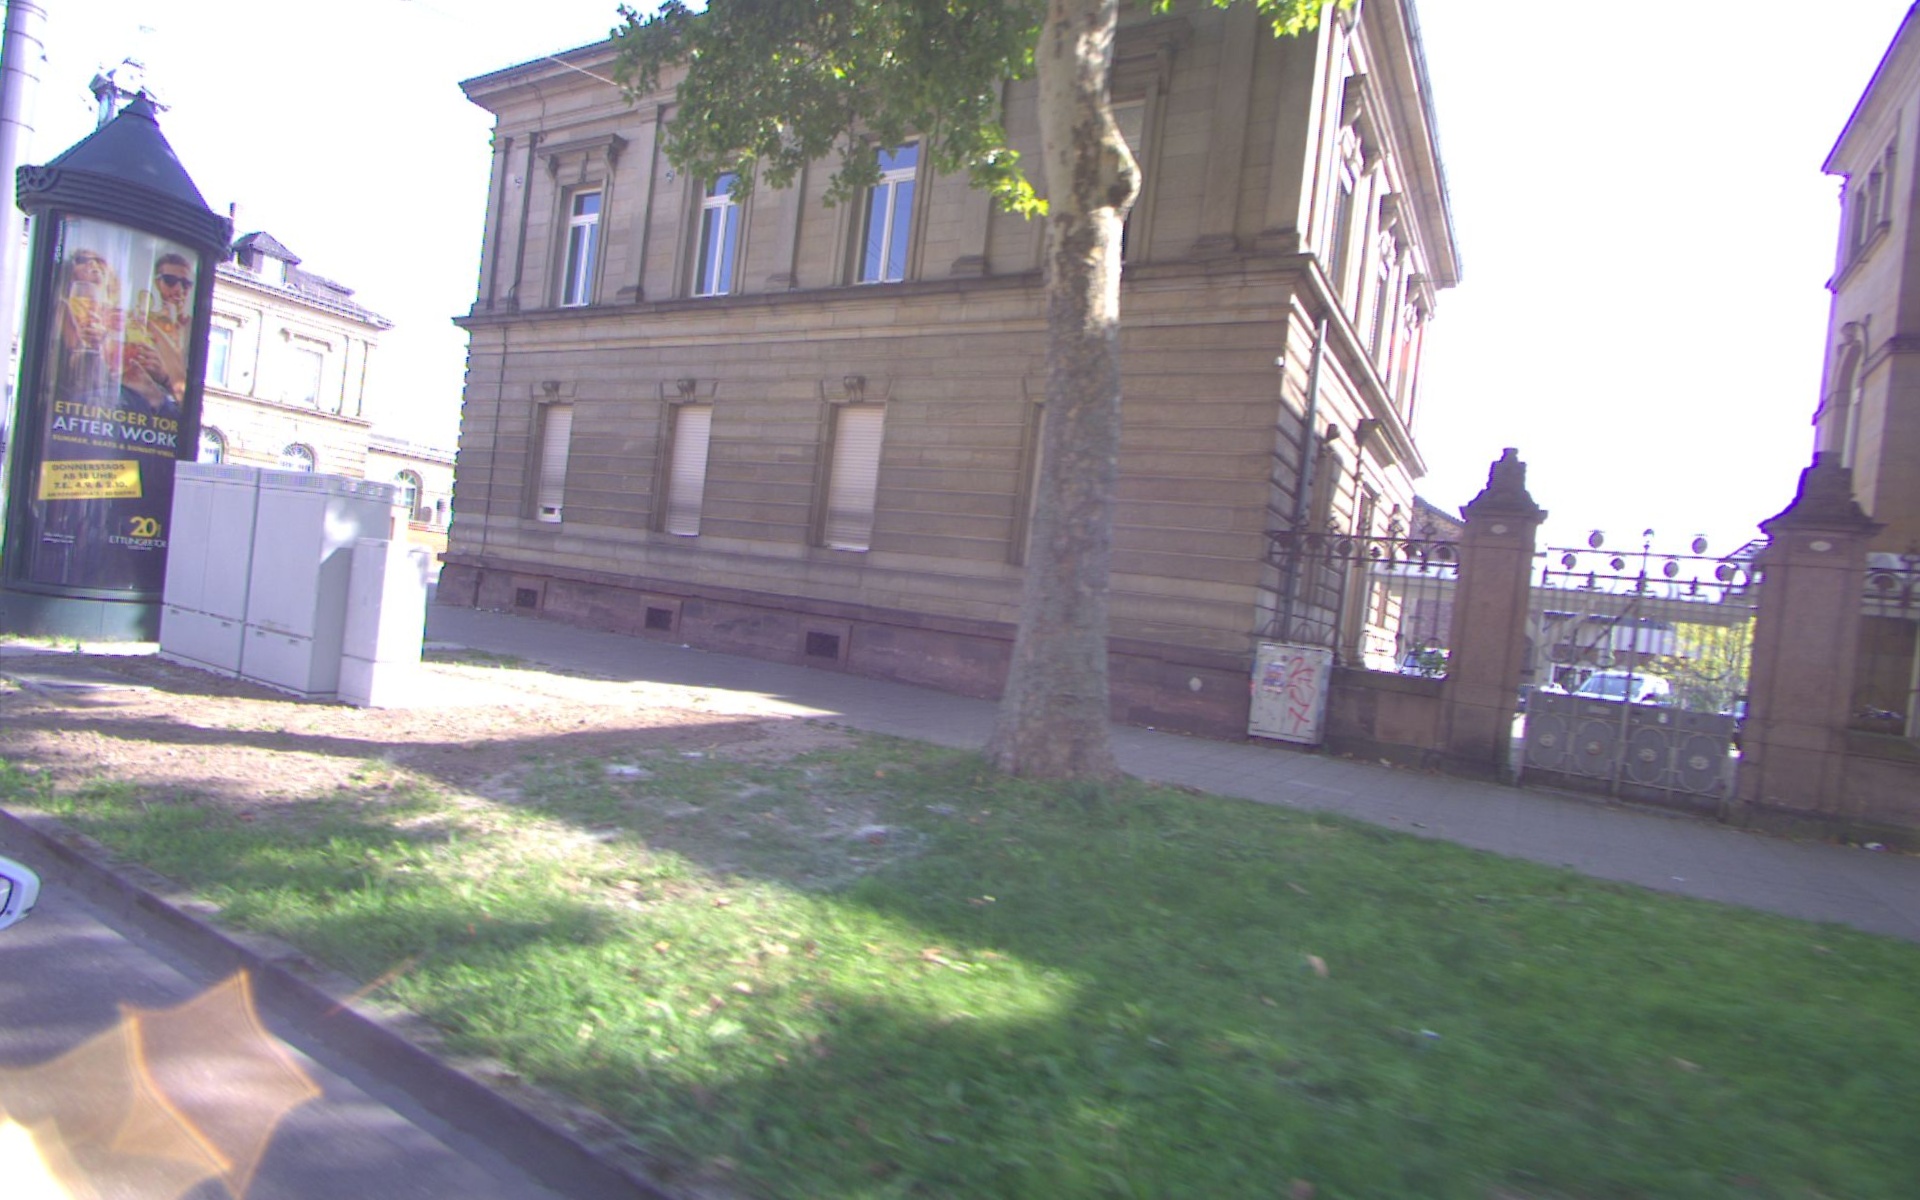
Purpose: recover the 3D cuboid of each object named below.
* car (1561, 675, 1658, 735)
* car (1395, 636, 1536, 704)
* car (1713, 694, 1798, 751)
[{"bbox_3d":[18.428,2.969,28.463,1.796,1.360,4.108,6,-2,39],"label":"car"},{"bbox_3d":[17.398,2.429,34.551,4.966,1.767,1.808,8,-1,-30],"label":"car"},{"bbox_3d":[24.015,3.684,30.326,1.796,1.360,4.107,6,-2,40],"label":"car"}]
